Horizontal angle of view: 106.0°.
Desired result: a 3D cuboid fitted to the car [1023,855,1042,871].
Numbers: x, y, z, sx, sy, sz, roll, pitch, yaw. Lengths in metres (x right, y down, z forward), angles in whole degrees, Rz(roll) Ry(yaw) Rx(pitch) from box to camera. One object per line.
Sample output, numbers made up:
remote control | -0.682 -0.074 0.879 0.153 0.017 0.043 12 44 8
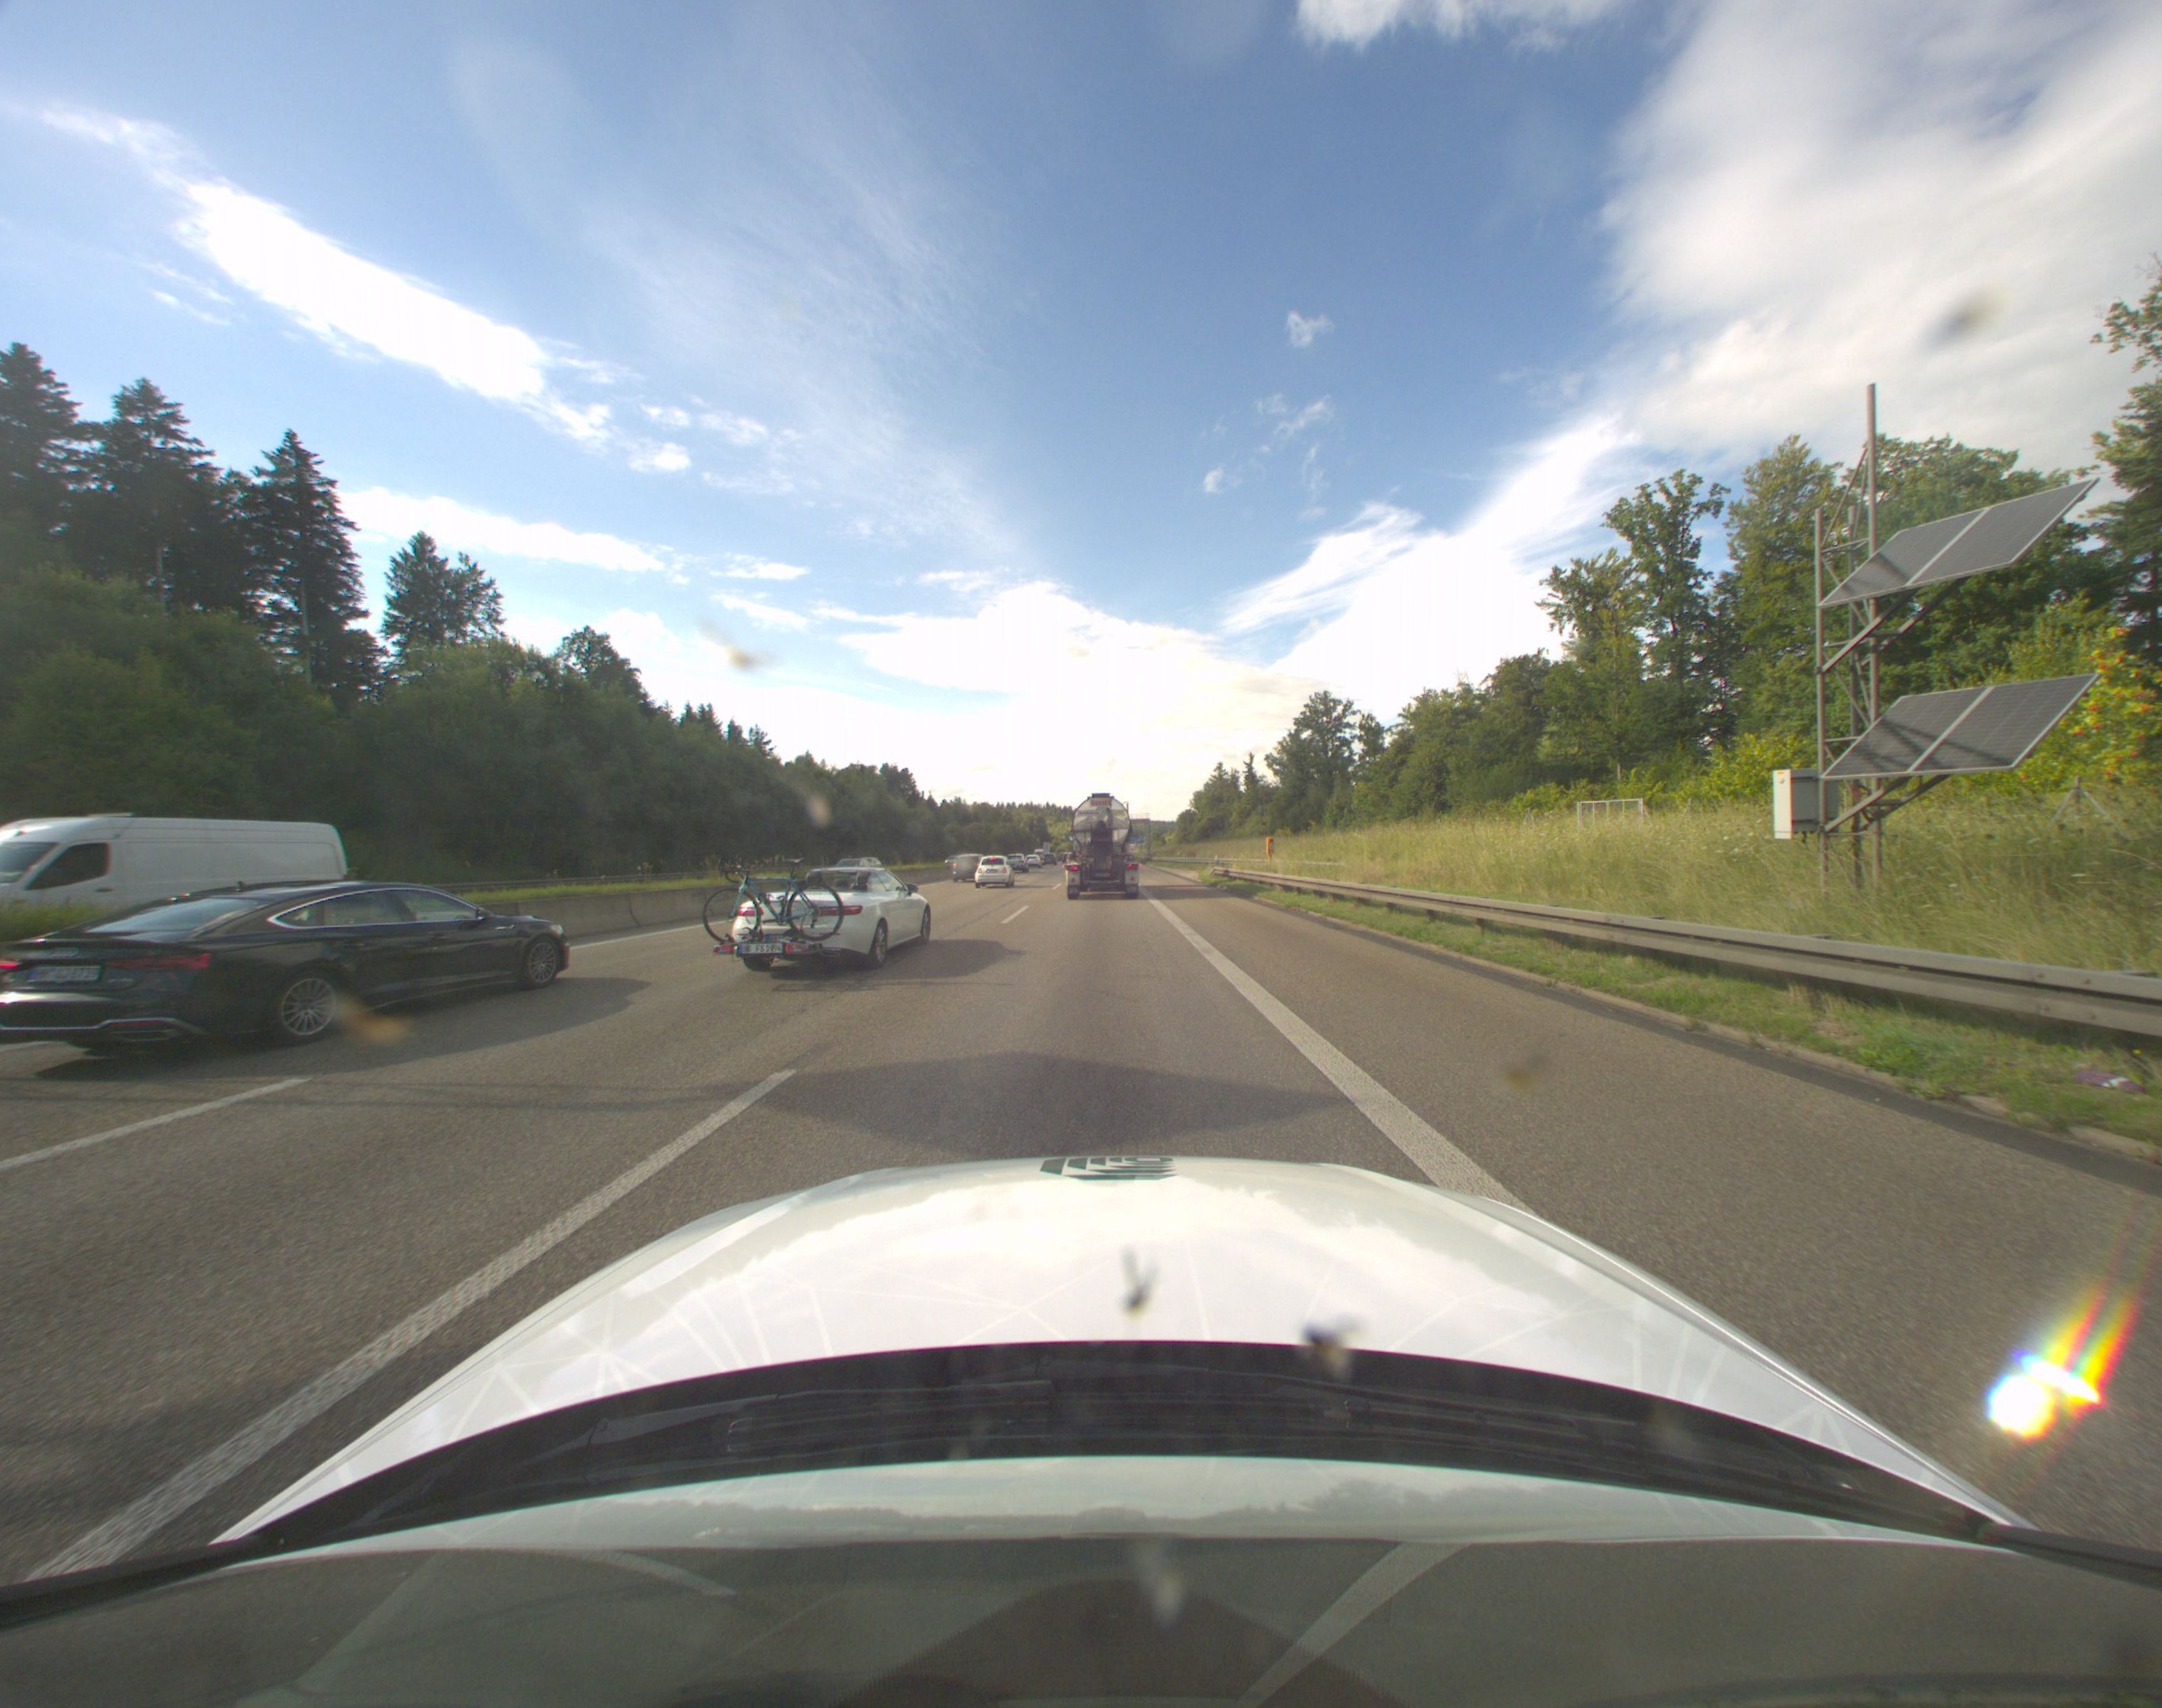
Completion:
car | -5.328 0.984 89.887 1.800 1.585 4.208 0 1 1

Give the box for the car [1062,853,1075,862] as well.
car | -2.011 0.578 131.536 1.935 1.456 4.208 0 1 1

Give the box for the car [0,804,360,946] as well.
car | -18.623 0.352 16.376 2.101 2.312 6.726 -1 0 2

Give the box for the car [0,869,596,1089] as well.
car | -7.300 0.933 8.151 1.849 1.431 4.843 -1 0 2

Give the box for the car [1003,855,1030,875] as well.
car | -5.364 0.916 68.384 1.800 1.585 4.208 0 1 1

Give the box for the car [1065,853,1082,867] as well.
car | -0.958 0.741 101.904 1.935 1.654 4.208 0 1 1

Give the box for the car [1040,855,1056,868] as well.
car | -4.369 0.947 108.894 1.935 1.585 4.208 0 1 1

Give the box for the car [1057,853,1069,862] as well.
car | -3.274 0.649 150.268 1.935 1.456 4.208 0 1 1

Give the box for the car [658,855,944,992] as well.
car | -3.658 0.797 12.076 2.052 1.499 5.738 -1 0 2

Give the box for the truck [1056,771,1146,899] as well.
truck | 0.860 -0.633 32.433 2.901 4.157 11.275 -1 0 2

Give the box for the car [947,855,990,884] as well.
car | -6.551 0.862 47.902 1.800 1.585 4.208 0 1 1

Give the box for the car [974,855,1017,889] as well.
car | -4.081 0.813 39.198 1.612 1.544 3.521 0 0 1
